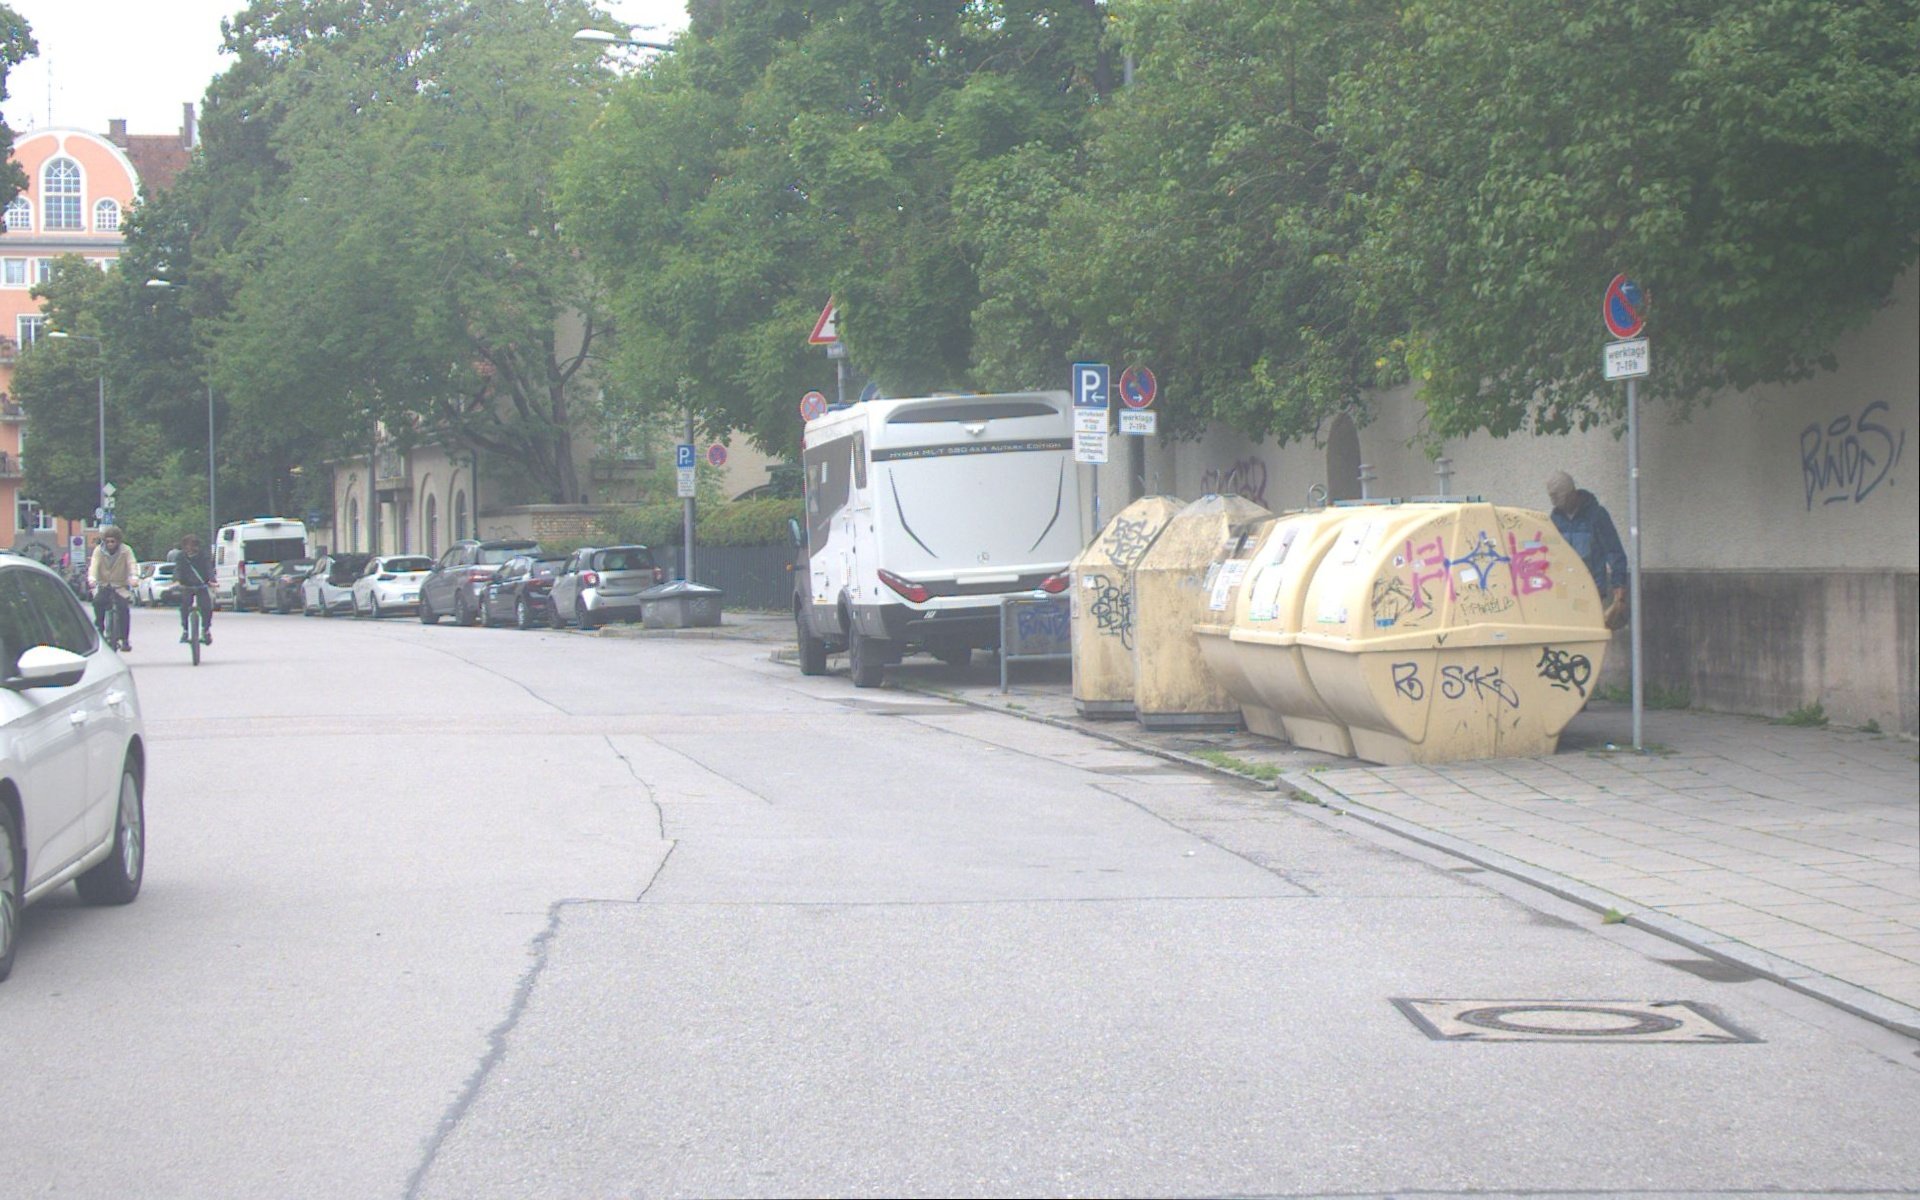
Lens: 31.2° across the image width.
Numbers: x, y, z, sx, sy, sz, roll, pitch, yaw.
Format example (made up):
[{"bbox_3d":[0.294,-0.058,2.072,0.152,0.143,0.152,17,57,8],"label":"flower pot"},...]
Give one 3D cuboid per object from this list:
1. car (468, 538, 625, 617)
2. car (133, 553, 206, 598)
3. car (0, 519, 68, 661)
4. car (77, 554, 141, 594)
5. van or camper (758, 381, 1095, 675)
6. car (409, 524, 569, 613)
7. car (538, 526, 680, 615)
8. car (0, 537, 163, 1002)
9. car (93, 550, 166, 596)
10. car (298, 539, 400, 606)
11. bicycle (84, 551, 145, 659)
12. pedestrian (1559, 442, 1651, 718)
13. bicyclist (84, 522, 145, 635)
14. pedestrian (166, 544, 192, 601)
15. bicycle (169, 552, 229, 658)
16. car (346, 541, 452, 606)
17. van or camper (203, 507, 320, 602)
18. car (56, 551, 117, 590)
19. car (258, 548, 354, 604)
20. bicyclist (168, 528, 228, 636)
[{"bbox_3d":[-8.140,-0.453,67.380,1.877,1.422,4.223,-3,2,-23],"label":"car"},{"bbox_3d":[-26.323,-0.818,114.399,1.707,1.403,4.131,-3,1,-22],"label":"car"},{"bbox_3d":[-13.079,-0.031,40.487,4.514,1.659,1.987,-3,1,-40],"label":"car"},{"bbox_3d":[-31.719,-0.980,128.053,1.670,1.339,3.839,-3,3,-23],"label":"car"},{"bbox_3d":[-0.531,-0.794,37.883,2.272,2.896,7.279,-1,1,-12],"label":"van or camper"},{"bbox_3d":[-9.867,-0.661,71.691,1.993,1.705,4.886,-3,2,-23],"label":"car"},{"bbox_3d":[-6.504,-0.525,63.569,1.738,1.531,2.947,-3,1,-23],"label":"car"},{"bbox_3d":[-4.087,0.520,12.467,1.772,1.470,4.135,-1,1,-5],"label":"car"},{"bbox_3d":[-29.733,-0.968,122.985,1.803,1.461,3.839,-3,3,-24],"label":"car"},{"bbox_3d":[-15.215,-0.697,85.425,1.707,1.532,4.241,-3,2,-20],"label":"car"},{"bbox_3d":[-10.664,0.045,43.362,0.707,1.301,2.119,-1,1,-14],"label":"bicycle"},{"bbox_3d":[4.713,-0.149,25.125,0.629,1.978,0.798,-1,1,11],"label":"pedestrian"},{"bbox_3d":[-10.653,-0.281,43.312,0.696,1.392,0.930,-1,1,-15],"label":"bicyclist"},{"bbox_3d":[-27.839,-0.984,122.571,0.773,2.007,0.563,-1,1,-22],"label":"pedestrian"},{"bbox_3d":[-9.703,0.050,43.826,0.706,1.301,2.119,-1,1,-12],"label":"bicycle"},{"bbox_3d":[-13.194,-0.608,80.691,1.685,1.436,4.001,-2,1,-20],"label":"car"},{"bbox_3d":[-19.790,-1.287,97.229,2.192,2.541,5.730,-3,2,-21],"label":"van or camper"},{"bbox_3d":[-33.694,-1.135,132.569,1.670,1.339,3.839,-3,3,-23],"label":"car"},{"bbox_3d":[-17.310,-0.643,90.830,1.707,1.364,4.442,-3,1,-20],"label":"car"},{"bbox_3d":[-9.663,-0.239,43.623,0.696,1.347,0.930,-1,1,-11],"label":"bicyclist"}]
